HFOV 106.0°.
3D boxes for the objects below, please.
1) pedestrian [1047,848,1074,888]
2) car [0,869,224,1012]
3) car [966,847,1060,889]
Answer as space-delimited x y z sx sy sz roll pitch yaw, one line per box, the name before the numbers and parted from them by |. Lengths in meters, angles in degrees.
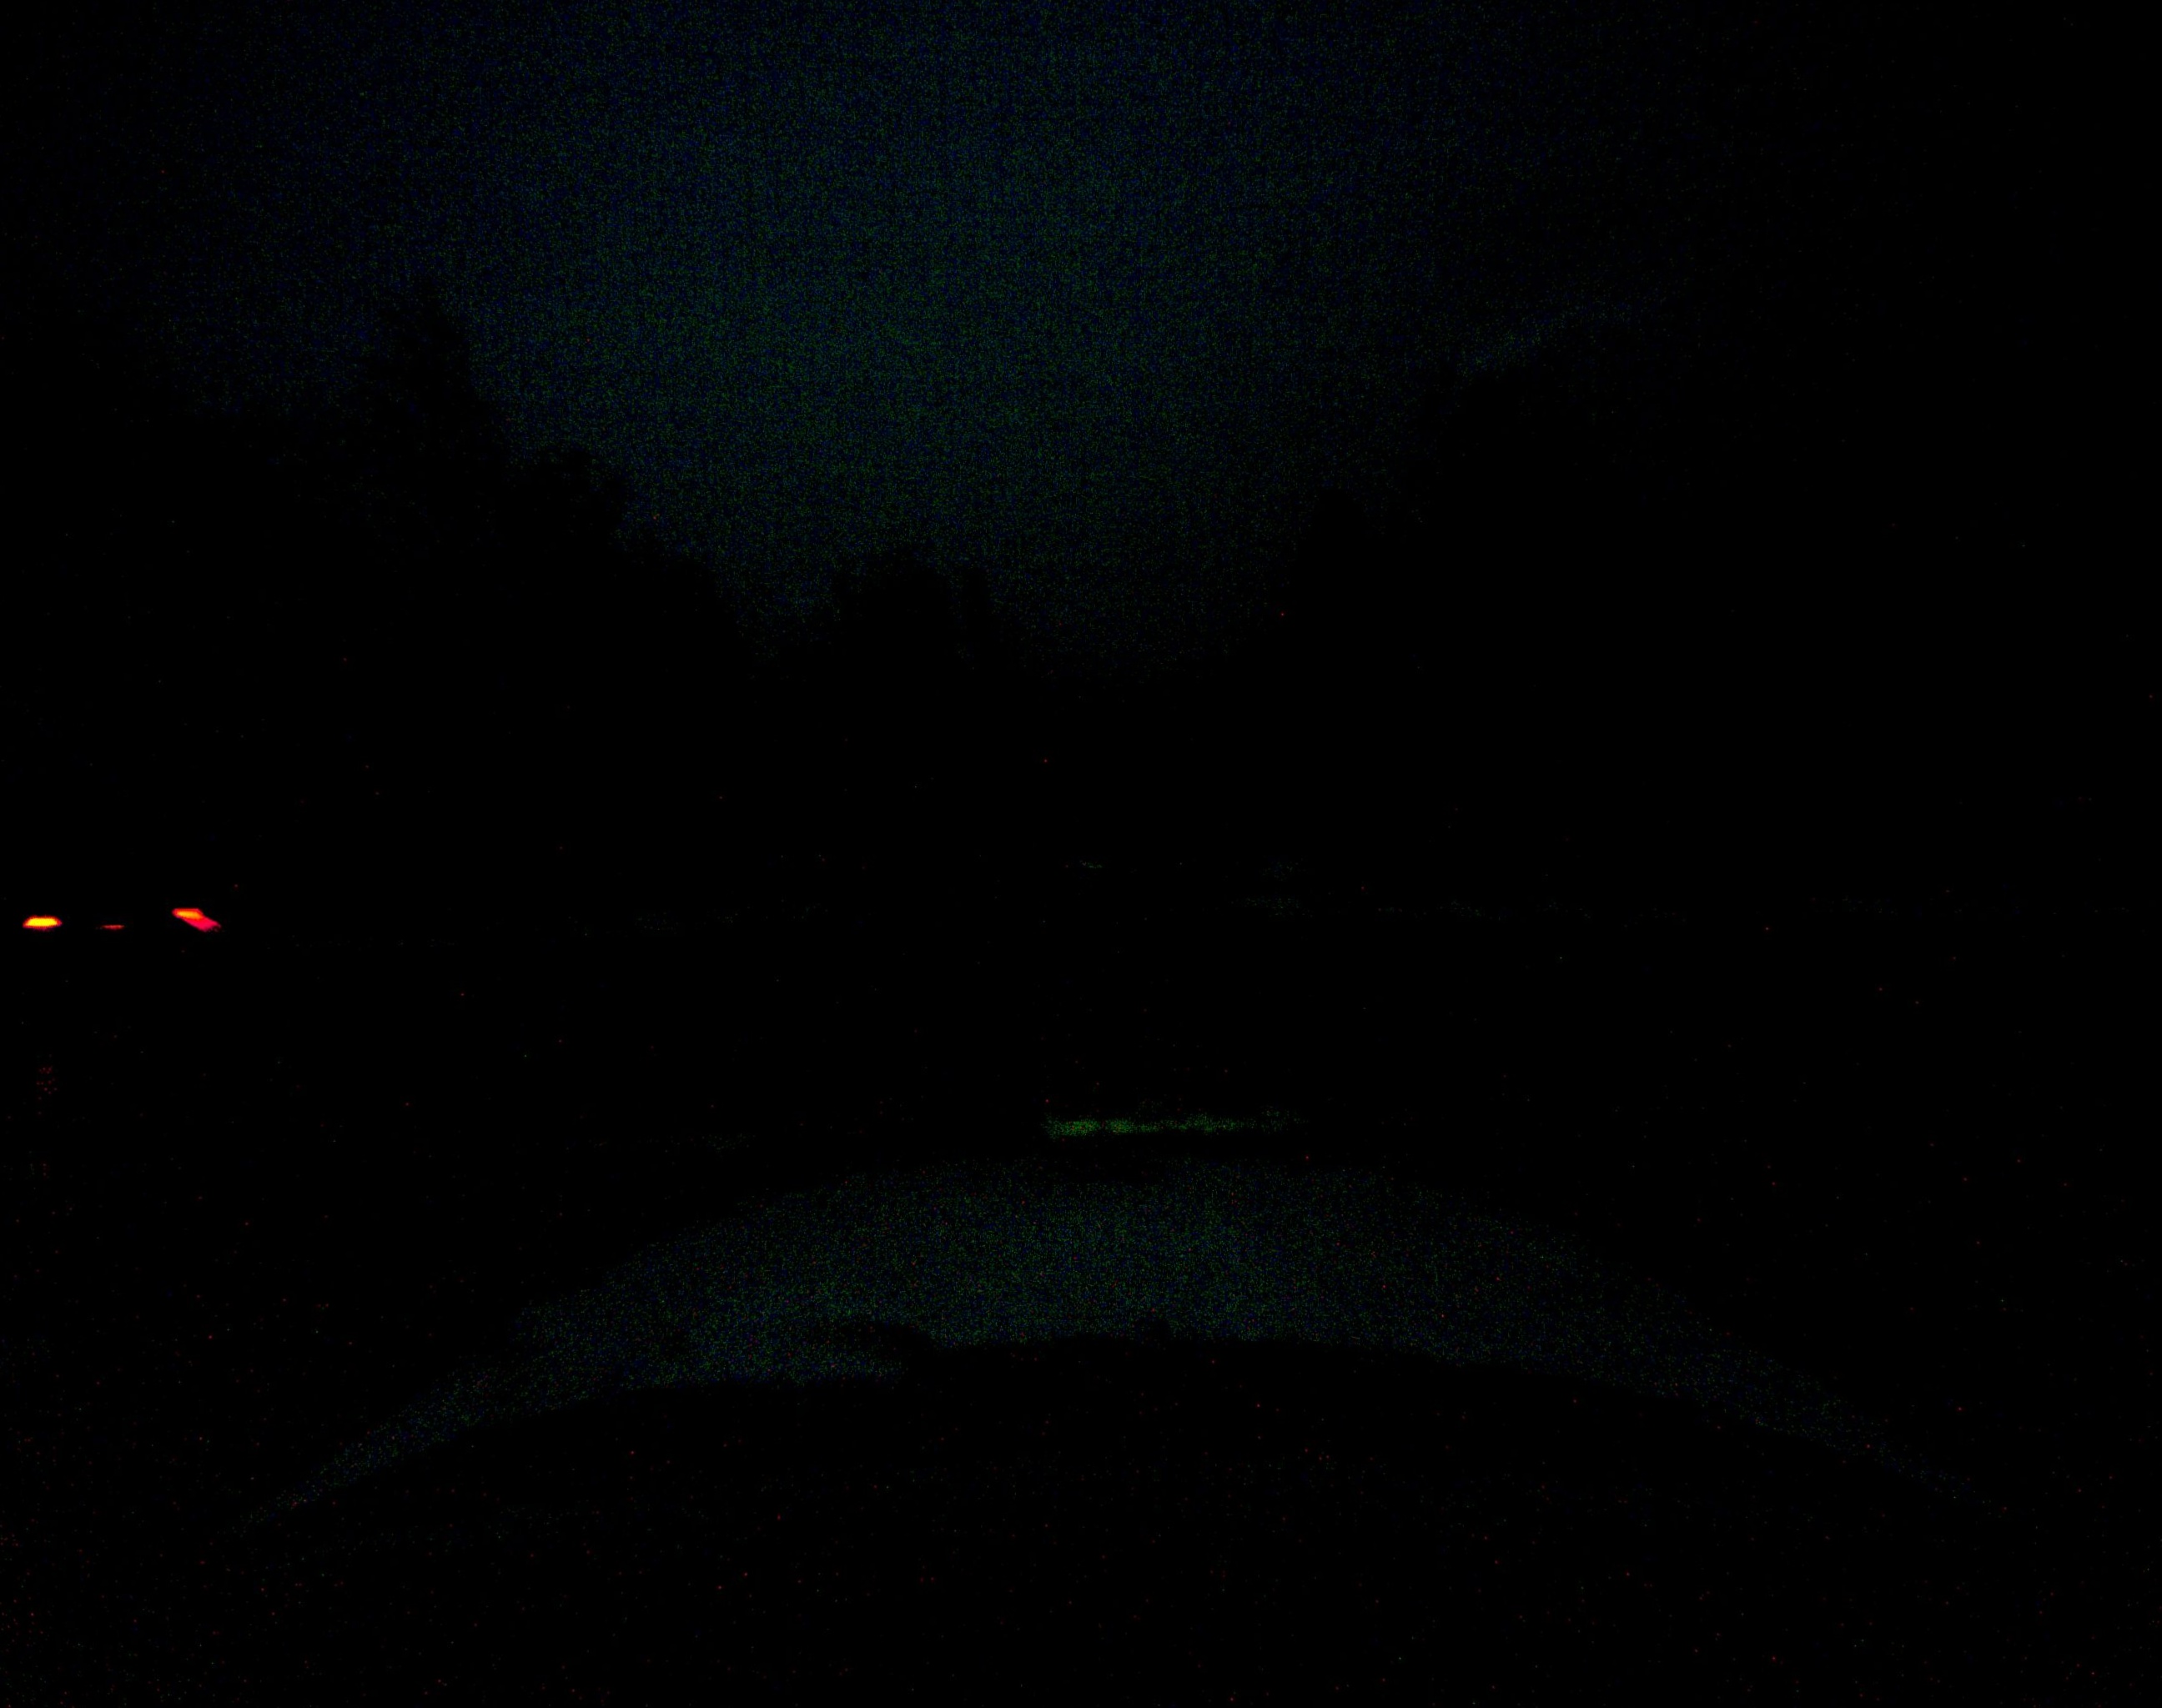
pedestrian | -0.923 0.635 37.285 0.952 1.828 0.930 0 -2 21
car | -13.277 1.030 10.216 3.817 1.552 1.703 -2 -1 12
car | -3.170 0.661 38.330 3.917 1.881 2.008 0 -1 16
